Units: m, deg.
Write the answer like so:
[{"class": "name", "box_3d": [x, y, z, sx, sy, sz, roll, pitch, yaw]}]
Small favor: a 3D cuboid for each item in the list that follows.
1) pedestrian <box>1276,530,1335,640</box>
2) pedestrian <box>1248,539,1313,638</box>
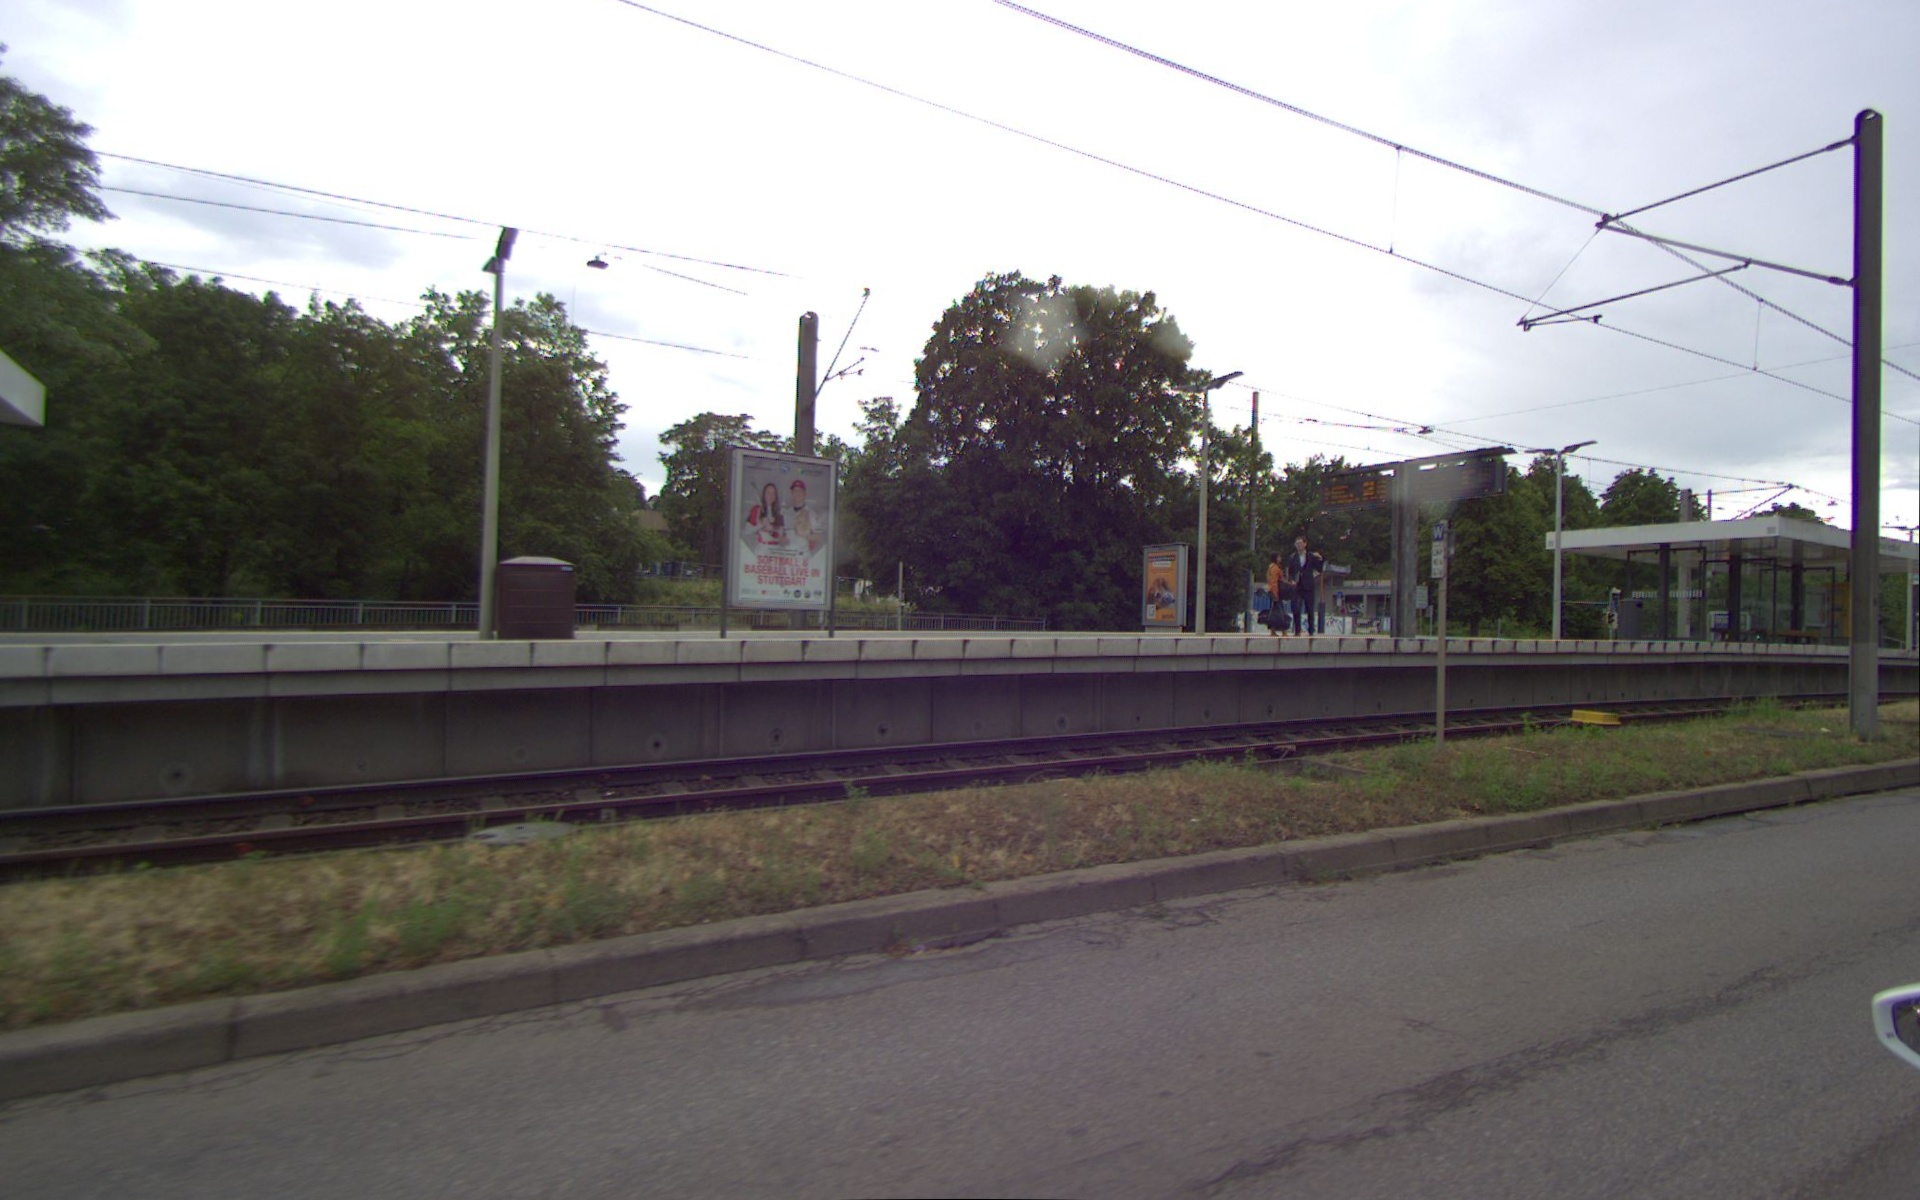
[{"class": "pedestrian", "box_3d": [6.281, -0.282, 18.264, 0.734, 1.935, 0.838, 2, 2, 38]}, {"class": "pedestrian", "box_3d": [5.622, -0.211, 17.605, 0.785, 1.669, 0.915, 2, 2, 38]}]
